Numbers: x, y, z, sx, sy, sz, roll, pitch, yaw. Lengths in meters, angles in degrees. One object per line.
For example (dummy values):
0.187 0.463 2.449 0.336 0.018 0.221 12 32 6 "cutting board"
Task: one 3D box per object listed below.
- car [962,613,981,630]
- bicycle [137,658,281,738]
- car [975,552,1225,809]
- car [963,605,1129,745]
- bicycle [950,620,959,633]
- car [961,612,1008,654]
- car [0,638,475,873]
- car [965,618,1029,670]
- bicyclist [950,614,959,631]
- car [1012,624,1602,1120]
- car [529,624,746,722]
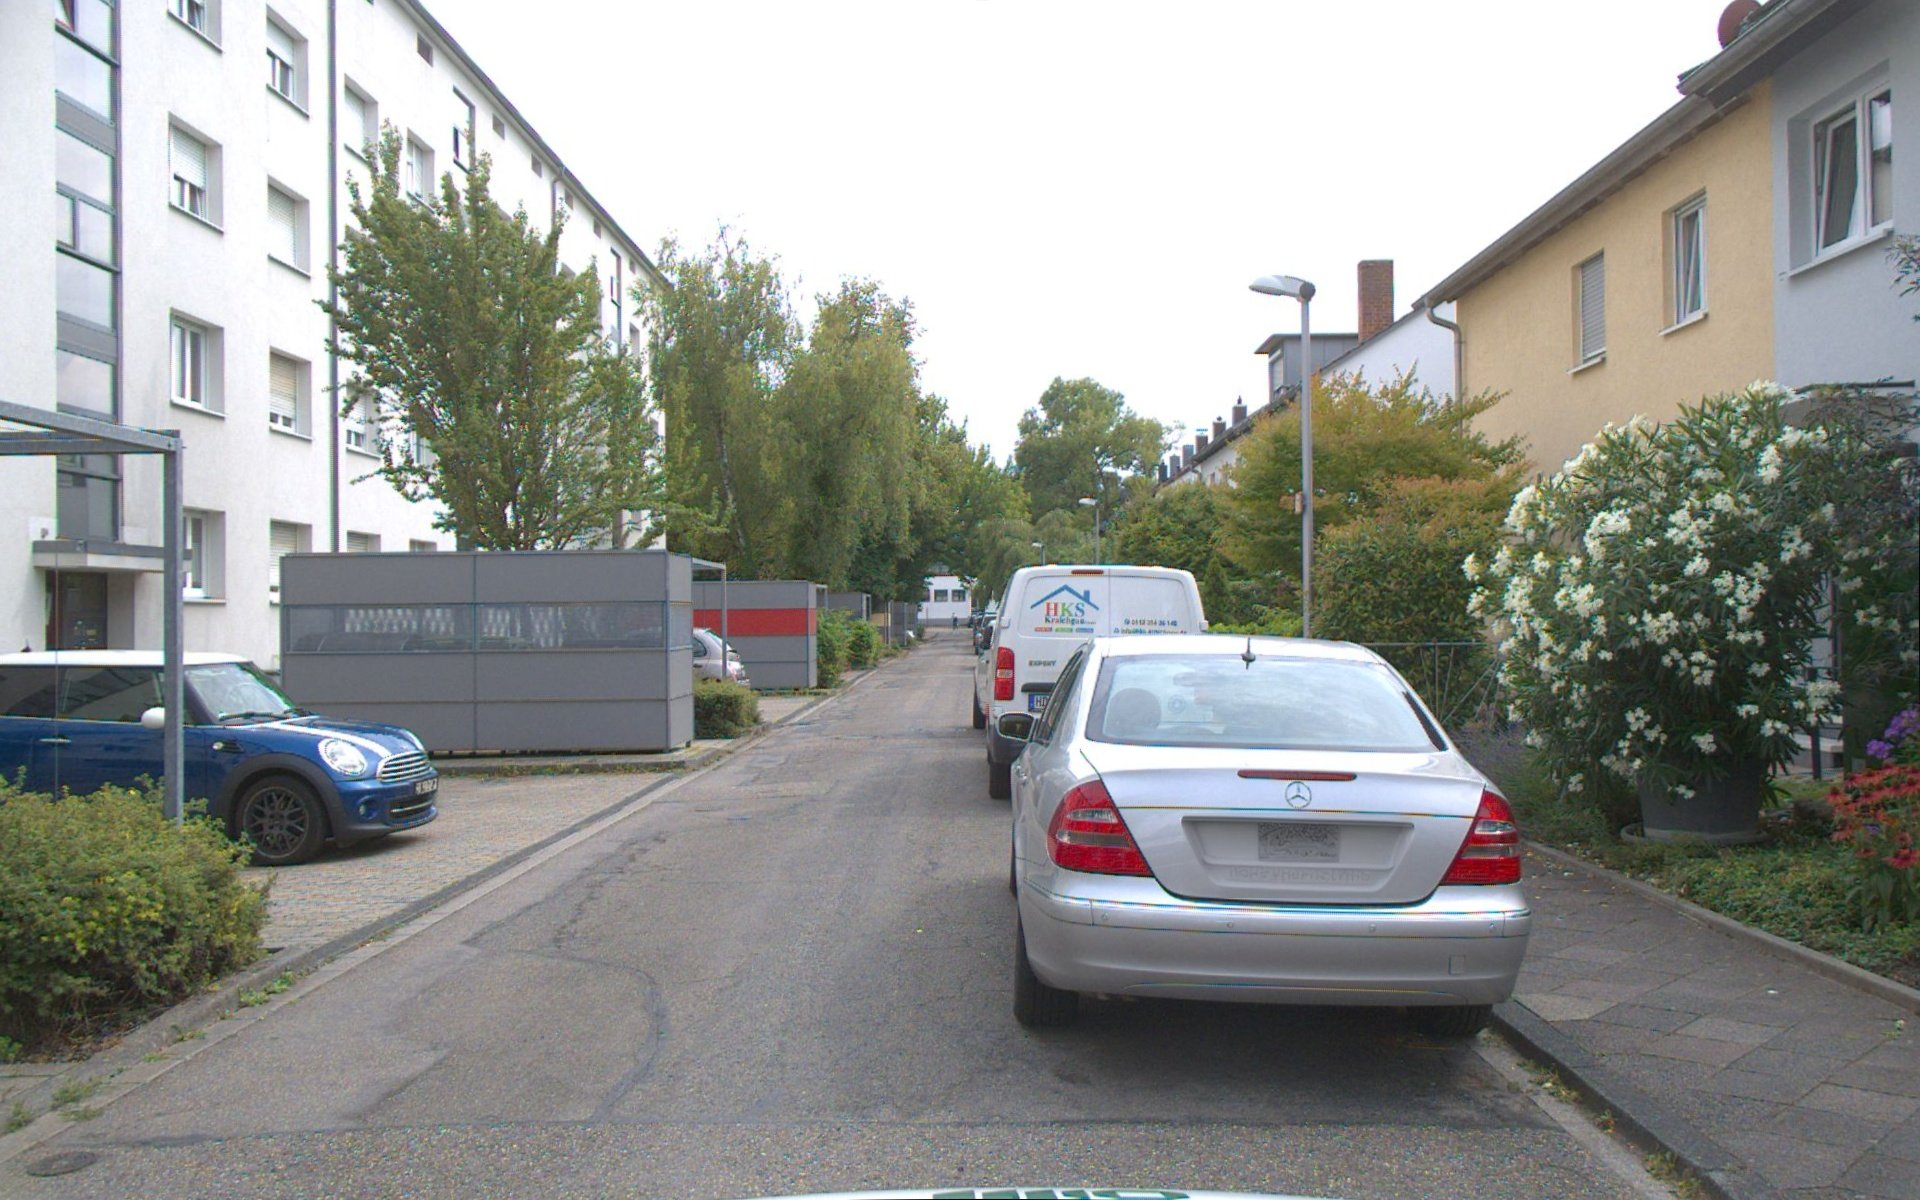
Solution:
1.162 2.165 165.533 1.787 1.609 4.000 1 -1 1 "car"
-10.612 1.369 23.408 1.794 1.042 0.472 0 -1 -41 "bicycle"
1.127 0.663 15.620 1.865 1.999 5.252 1 -1 0 "car"
1.037 0.922 21.909 1.788 1.664 4.159 1 -1 -3 "car"
-0.527 2.396 151.209 0.674 1.151 2.579 1 -1 2 "bicycle"
0.969 1.312 67.300 1.788 1.609 3.999 1 -1 -1 "car"
-5.563 1.083 11.964 3.559 1.487 1.653 -2 -1 3 "car"
1.063 1.260 48.687 1.787 1.394 4.331 1 0 1 "car"
-0.520 2.083 151.338 0.782 1.537 0.934 1 -1 2 "bicyclist"
1.109 0.841 7.179 1.746 1.446 4.456 1 -1 2 "car"
-5.568 1.244 28.874 3.492 1.506 1.709 -2 -1 -4 "car"
